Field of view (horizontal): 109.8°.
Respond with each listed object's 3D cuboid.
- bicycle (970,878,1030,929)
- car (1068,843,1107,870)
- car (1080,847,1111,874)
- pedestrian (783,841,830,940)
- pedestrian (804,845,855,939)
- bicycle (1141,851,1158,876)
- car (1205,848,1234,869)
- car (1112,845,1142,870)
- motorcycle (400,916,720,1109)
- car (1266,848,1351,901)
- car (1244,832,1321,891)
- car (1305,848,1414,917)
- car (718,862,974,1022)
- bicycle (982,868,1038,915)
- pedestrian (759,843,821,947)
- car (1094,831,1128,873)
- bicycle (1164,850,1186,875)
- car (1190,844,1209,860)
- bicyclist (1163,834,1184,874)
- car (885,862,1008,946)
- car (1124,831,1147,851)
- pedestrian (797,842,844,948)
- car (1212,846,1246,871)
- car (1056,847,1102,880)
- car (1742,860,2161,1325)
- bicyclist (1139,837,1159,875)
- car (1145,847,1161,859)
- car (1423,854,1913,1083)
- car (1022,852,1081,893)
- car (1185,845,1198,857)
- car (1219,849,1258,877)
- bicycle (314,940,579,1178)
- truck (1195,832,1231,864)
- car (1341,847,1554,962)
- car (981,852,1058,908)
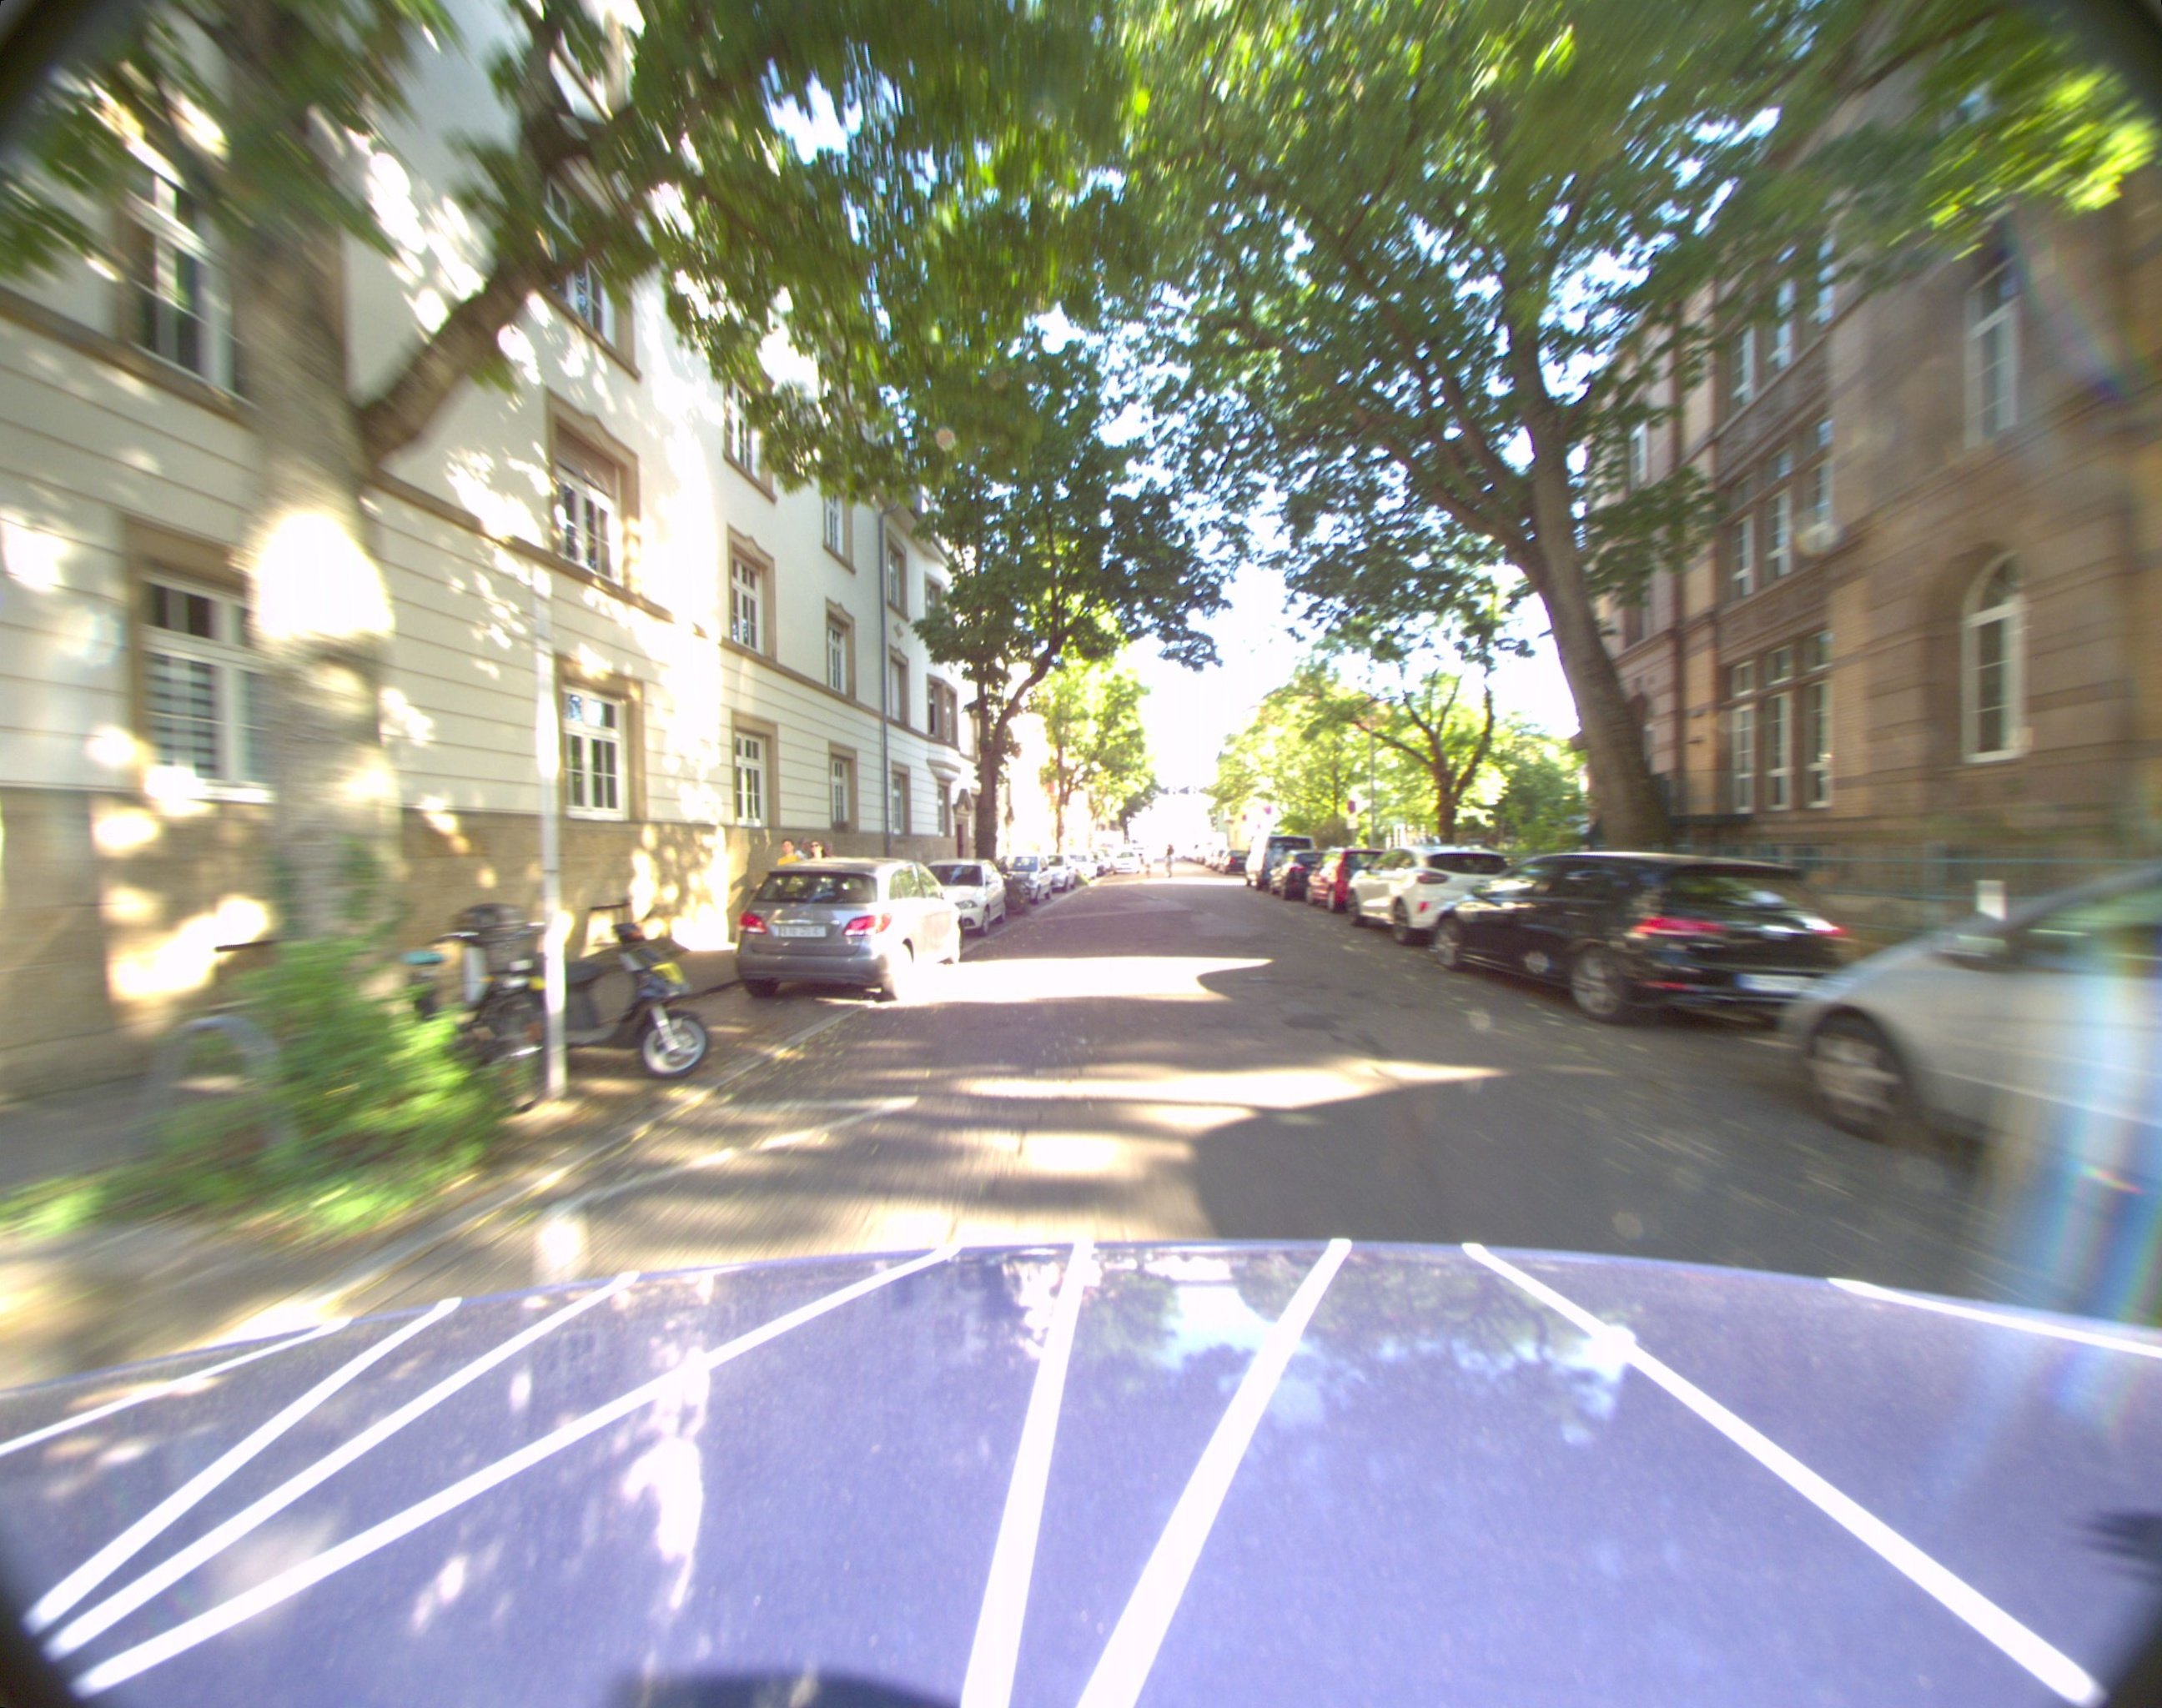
[{"bbox_3d":[-1.981,1.208,18.633,1.414,1.188,0.336,-1,1,4],"label":"bicycle"},{"bbox_3d":[0.407,0.113,44.062,1.811,1.412,4.001,-1,1,6],"label":"car"},{"bbox_3d":[1.024,0.412,50.170,1.660,1.674,4.084,-1,1,6],"label":"car"},{"bbox_3d":[-5.213,0.680,14.450,0.528,1.834,0.707,-1,1,7],"label":"pedestrian"},{"bbox_3d":[-5.078,0.740,15.375,0.706,1.834,0.840,-1,1,0],"label":"pedestrian"},{"bbox_3d":[3.386,0.449,37.455,0.810,1.136,2.548,-1,1,6],"label":"bicycle"},{"bbox_3d":[9.941,0.285,54.844,1.787,1.450,4.210,-1,1,6],"label":"car"},{"bbox_3d":[2.905,0.197,47.498,1.653,1.449,4.001,-1,1,6],"label":"car"},{"bbox_3d":[-3.716,1.099,5.511,1.854,1.205,0.678,1,0,3],"label":"motorcycle"},{"bbox_3d":[6.664,0.537,22.615,1.730,1.455,3.846,0,1,6],"label":"car"},{"bbox_3d":[7.303,0.233,28.060,1.997,1.946,5.044,1,1,6],"label":"car"},{"bbox_3d":[6.400,0.597,17.811,1.624,1.455,3.312,0,1,6],"label":"car"},{"bbox_3d":[-2.668,0.903,9.729,1.684,1.531,4.135,0,1,5],"label":"car"},{"bbox_3d":[-1.865,0.977,20.034,1.414,1.188,0.336,-1,1,4],"label":"bicycle"},{"bbox_3d":[-4.871,0.663,12.775,0.624,1.675,0.819,-1,1,5],"label":"pedestrian"},{"bbox_3d":[2.443,-0.186,59.811,1.998,2.983,6.241,-4,0,6],"label":"car"},{"bbox_3d":[4.582,0.403,37.322,0.985,1.136,2.548,-1,1,6],"label":"bicycle"},{"bbox_3d":[13.452,-0.242,86.531,1.808,1.791,4.191,-1,1,5],"label":"car"},{"bbox_3d":[4.558,-0.003,37.341,0.966,1.904,1.140,-1,1,6],"label":"bicyclist"},{"bbox_3d":[-2.572,0.908,15.402,1.727,1.399,3.856,0,1,1],"label":"car"},{"bbox_3d":[5.703,-1.341,78.668,2.145,2.002,4.865,-1,1,6],"label":"car"},{"bbox_3d":[-4.286,0.662,12.526,0.519,1.709,0.517,-1,1,4],"label":"pedestrian"},{"bbox_3d":[9.450,0.279,48.792,1.754,1.464,4.001,-2,1,6],"label":"car"},{"bbox_3d":[-0.049,0.425,38.015,1.823,1.521,4.001,-1,1,6],"label":"car"},{"bbox_3d":[4.589,0.877,2.427,1.709,1.550,3.953,2,1,6],"label":"car"},{"bbox_3d":[3.372,0.092,37.444,0.933,1.809,1.078,-1,1,6],"label":"bicyclist"},{"bbox_3d":[10.263,-0.163,108.477,2.145,1.758,4.811,-1,1,7],"label":"car"},{"bbox_3d":[5.076,0.822,7.413,1.585,1.456,3.998,2,2,0],"label":"car"},{"bbox_3d":[-1.073,0.666,29.458,1.650,1.434,4.001,-1,1,6],"label":"car"},{"bbox_3d":[14.839,-0.437,102.322,1.597,1.557,4.001,-1,1,5],"label":"car"},{"bbox_3d":[8.773,0.463,42.476,1.738,1.456,4.001,-1,1,6],"label":"car"},{"bbox_3d":[-3.910,1.176,4.656,1.794,1.155,0.434,1,1,22],"label":"bicycle"},{"bbox_3d":[11.448,-0.533,66.460,2.394,2.642,7.095,-1,1,5],"label":"truck"},{"bbox_3d":[5.719,0.673,12.462,1.792,1.524,4.001,2,1,5],"label":"car"},{"bbox_3d":[-1.825,0.745,23.729,1.638,1.524,4.001,-1,1,6],"label":"car"}]
